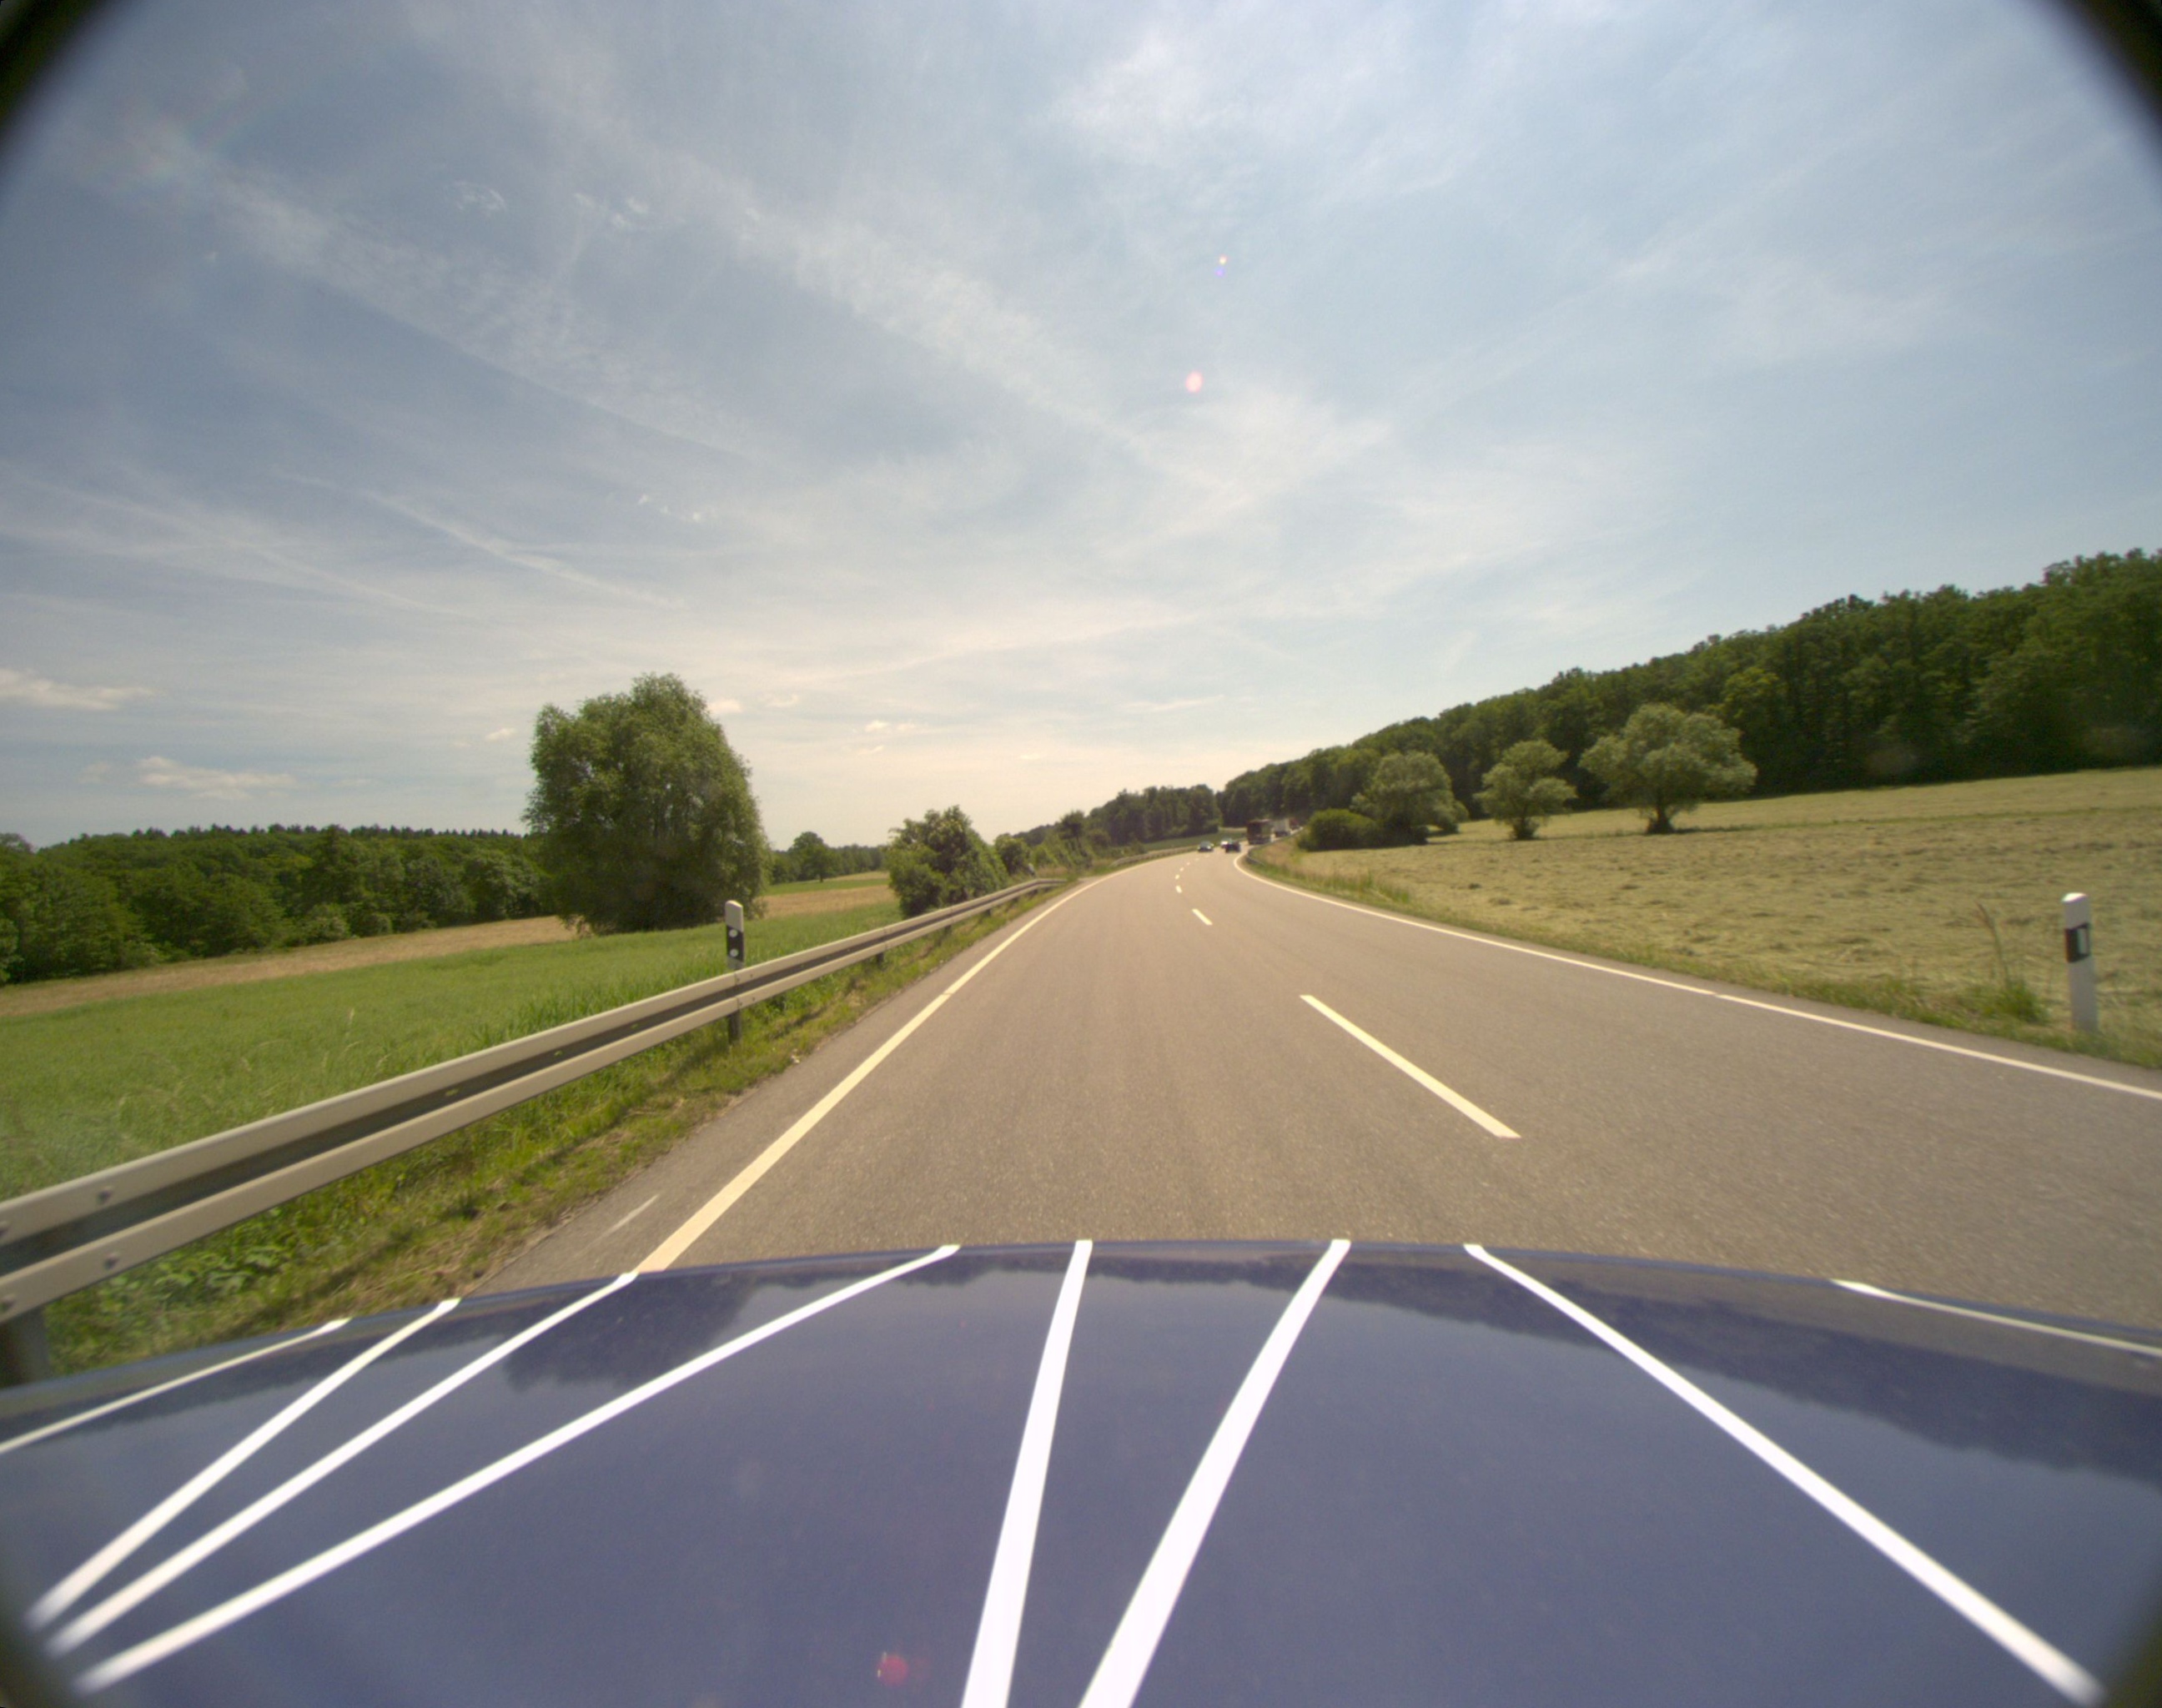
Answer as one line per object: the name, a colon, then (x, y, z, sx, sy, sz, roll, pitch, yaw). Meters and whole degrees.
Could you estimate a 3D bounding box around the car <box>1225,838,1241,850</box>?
car: (19.625, -1.326, 98.211, 1.702, 1.461, 4.204, -1, 1, 15)

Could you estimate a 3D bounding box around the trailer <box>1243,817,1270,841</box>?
trailer: (31.761, -4.578, 137.238, 3.245, 4.127, 14.459, -1, 2, 19)

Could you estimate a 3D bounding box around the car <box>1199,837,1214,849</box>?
car: (17.223, -1.525, 104.408, 1.620, 1.428, 3.445, -3, 2, 14)

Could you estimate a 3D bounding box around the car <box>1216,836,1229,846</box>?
car: (22.830, -2.090, 122.555, 1.619, 1.428, 3.446, -3, 2, 18)

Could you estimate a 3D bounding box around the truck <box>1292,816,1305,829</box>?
truck: (69.277, -10.036, 241.739, 2.706, 3.630, 10.111, -3, 2, 22)

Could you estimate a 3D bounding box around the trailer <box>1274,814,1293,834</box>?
trailer: (48.382, -7.126, 181.352, 3.377, 4.376, 13.759, -2, 2, 19)
